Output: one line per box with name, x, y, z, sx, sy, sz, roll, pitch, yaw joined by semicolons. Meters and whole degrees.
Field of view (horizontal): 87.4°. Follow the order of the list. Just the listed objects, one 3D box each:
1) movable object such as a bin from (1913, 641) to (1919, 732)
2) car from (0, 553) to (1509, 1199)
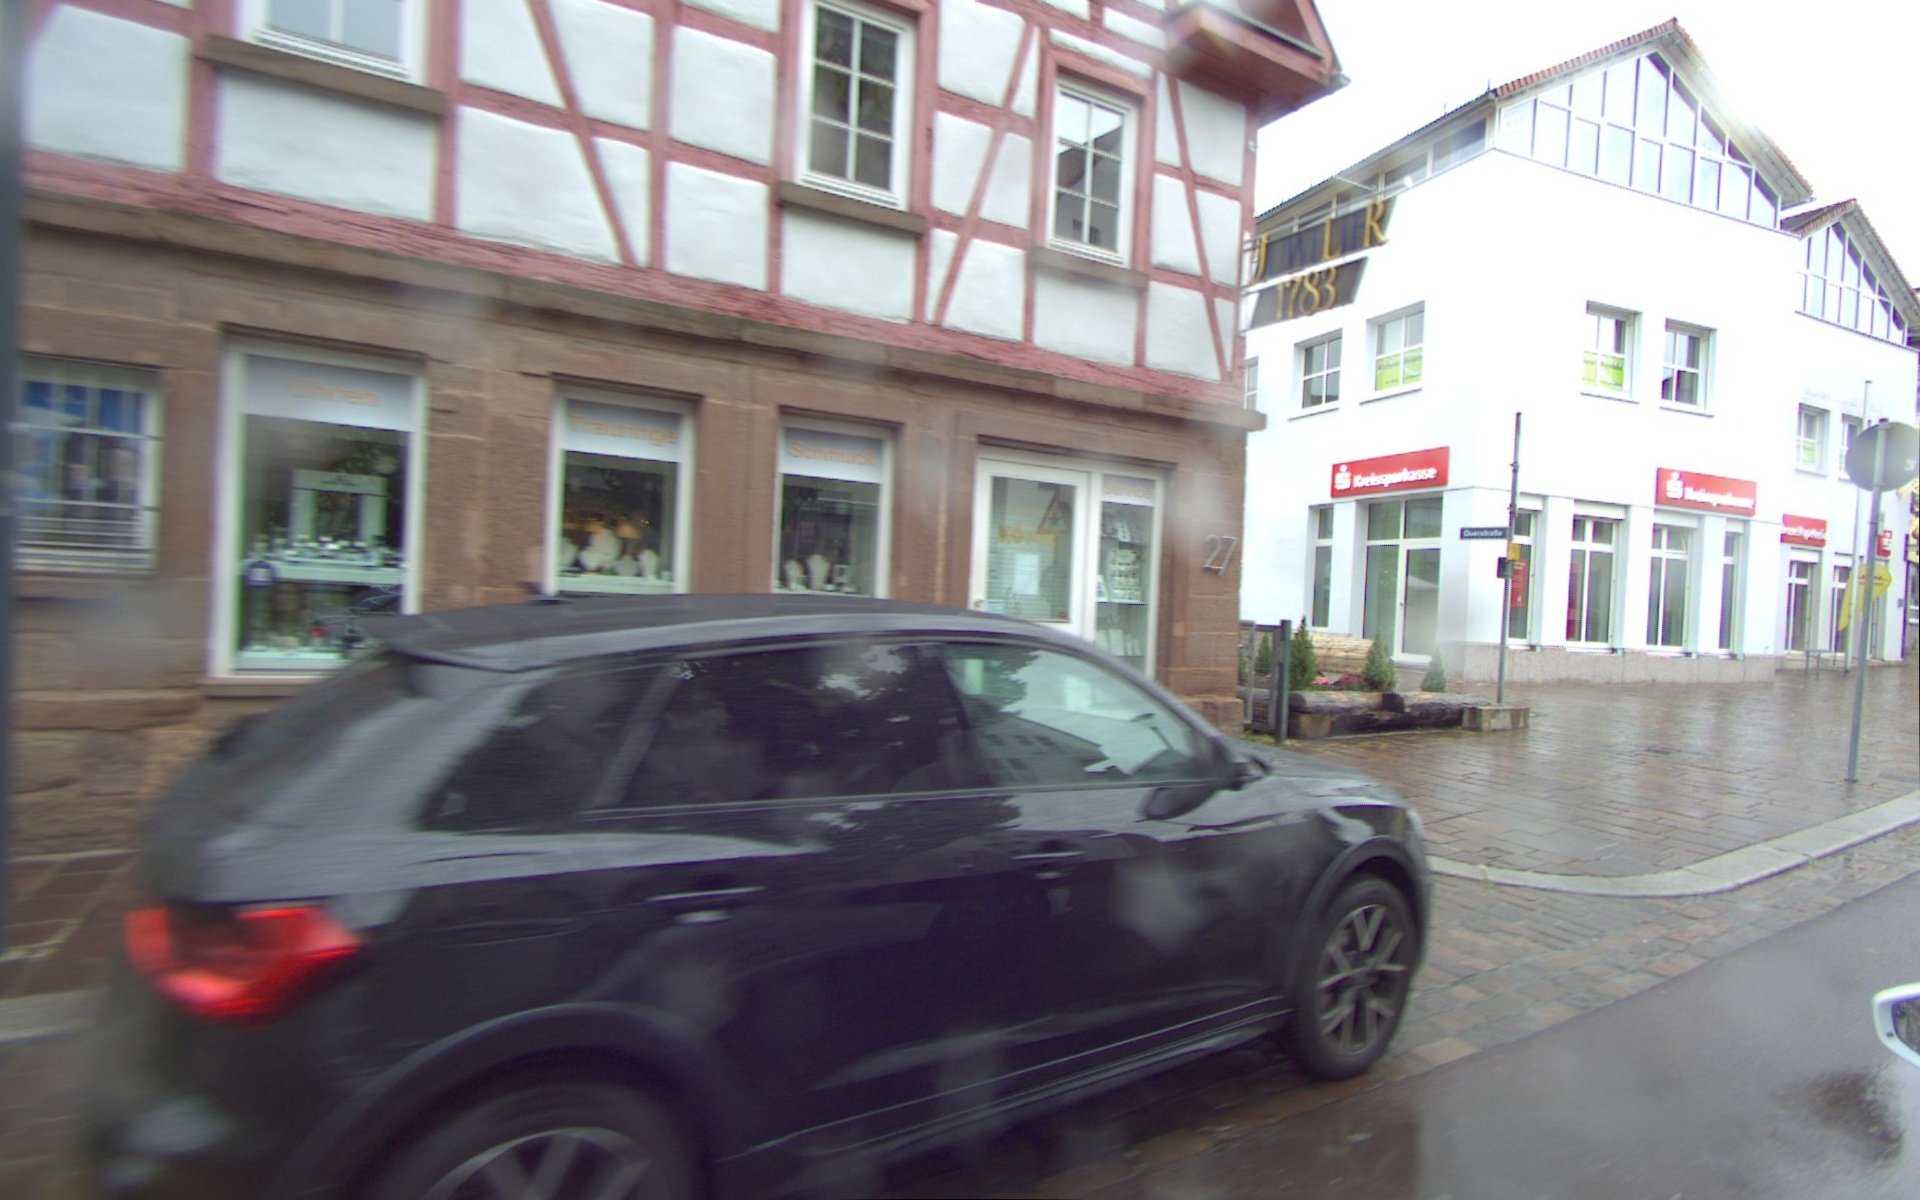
movable object such as a bin;12.221;1.094;12.235;0.593;1.120;0.710;3;1;-31
car;-0.250;0.710;3.064;3.960;1.515;1.776;1;2;-35
